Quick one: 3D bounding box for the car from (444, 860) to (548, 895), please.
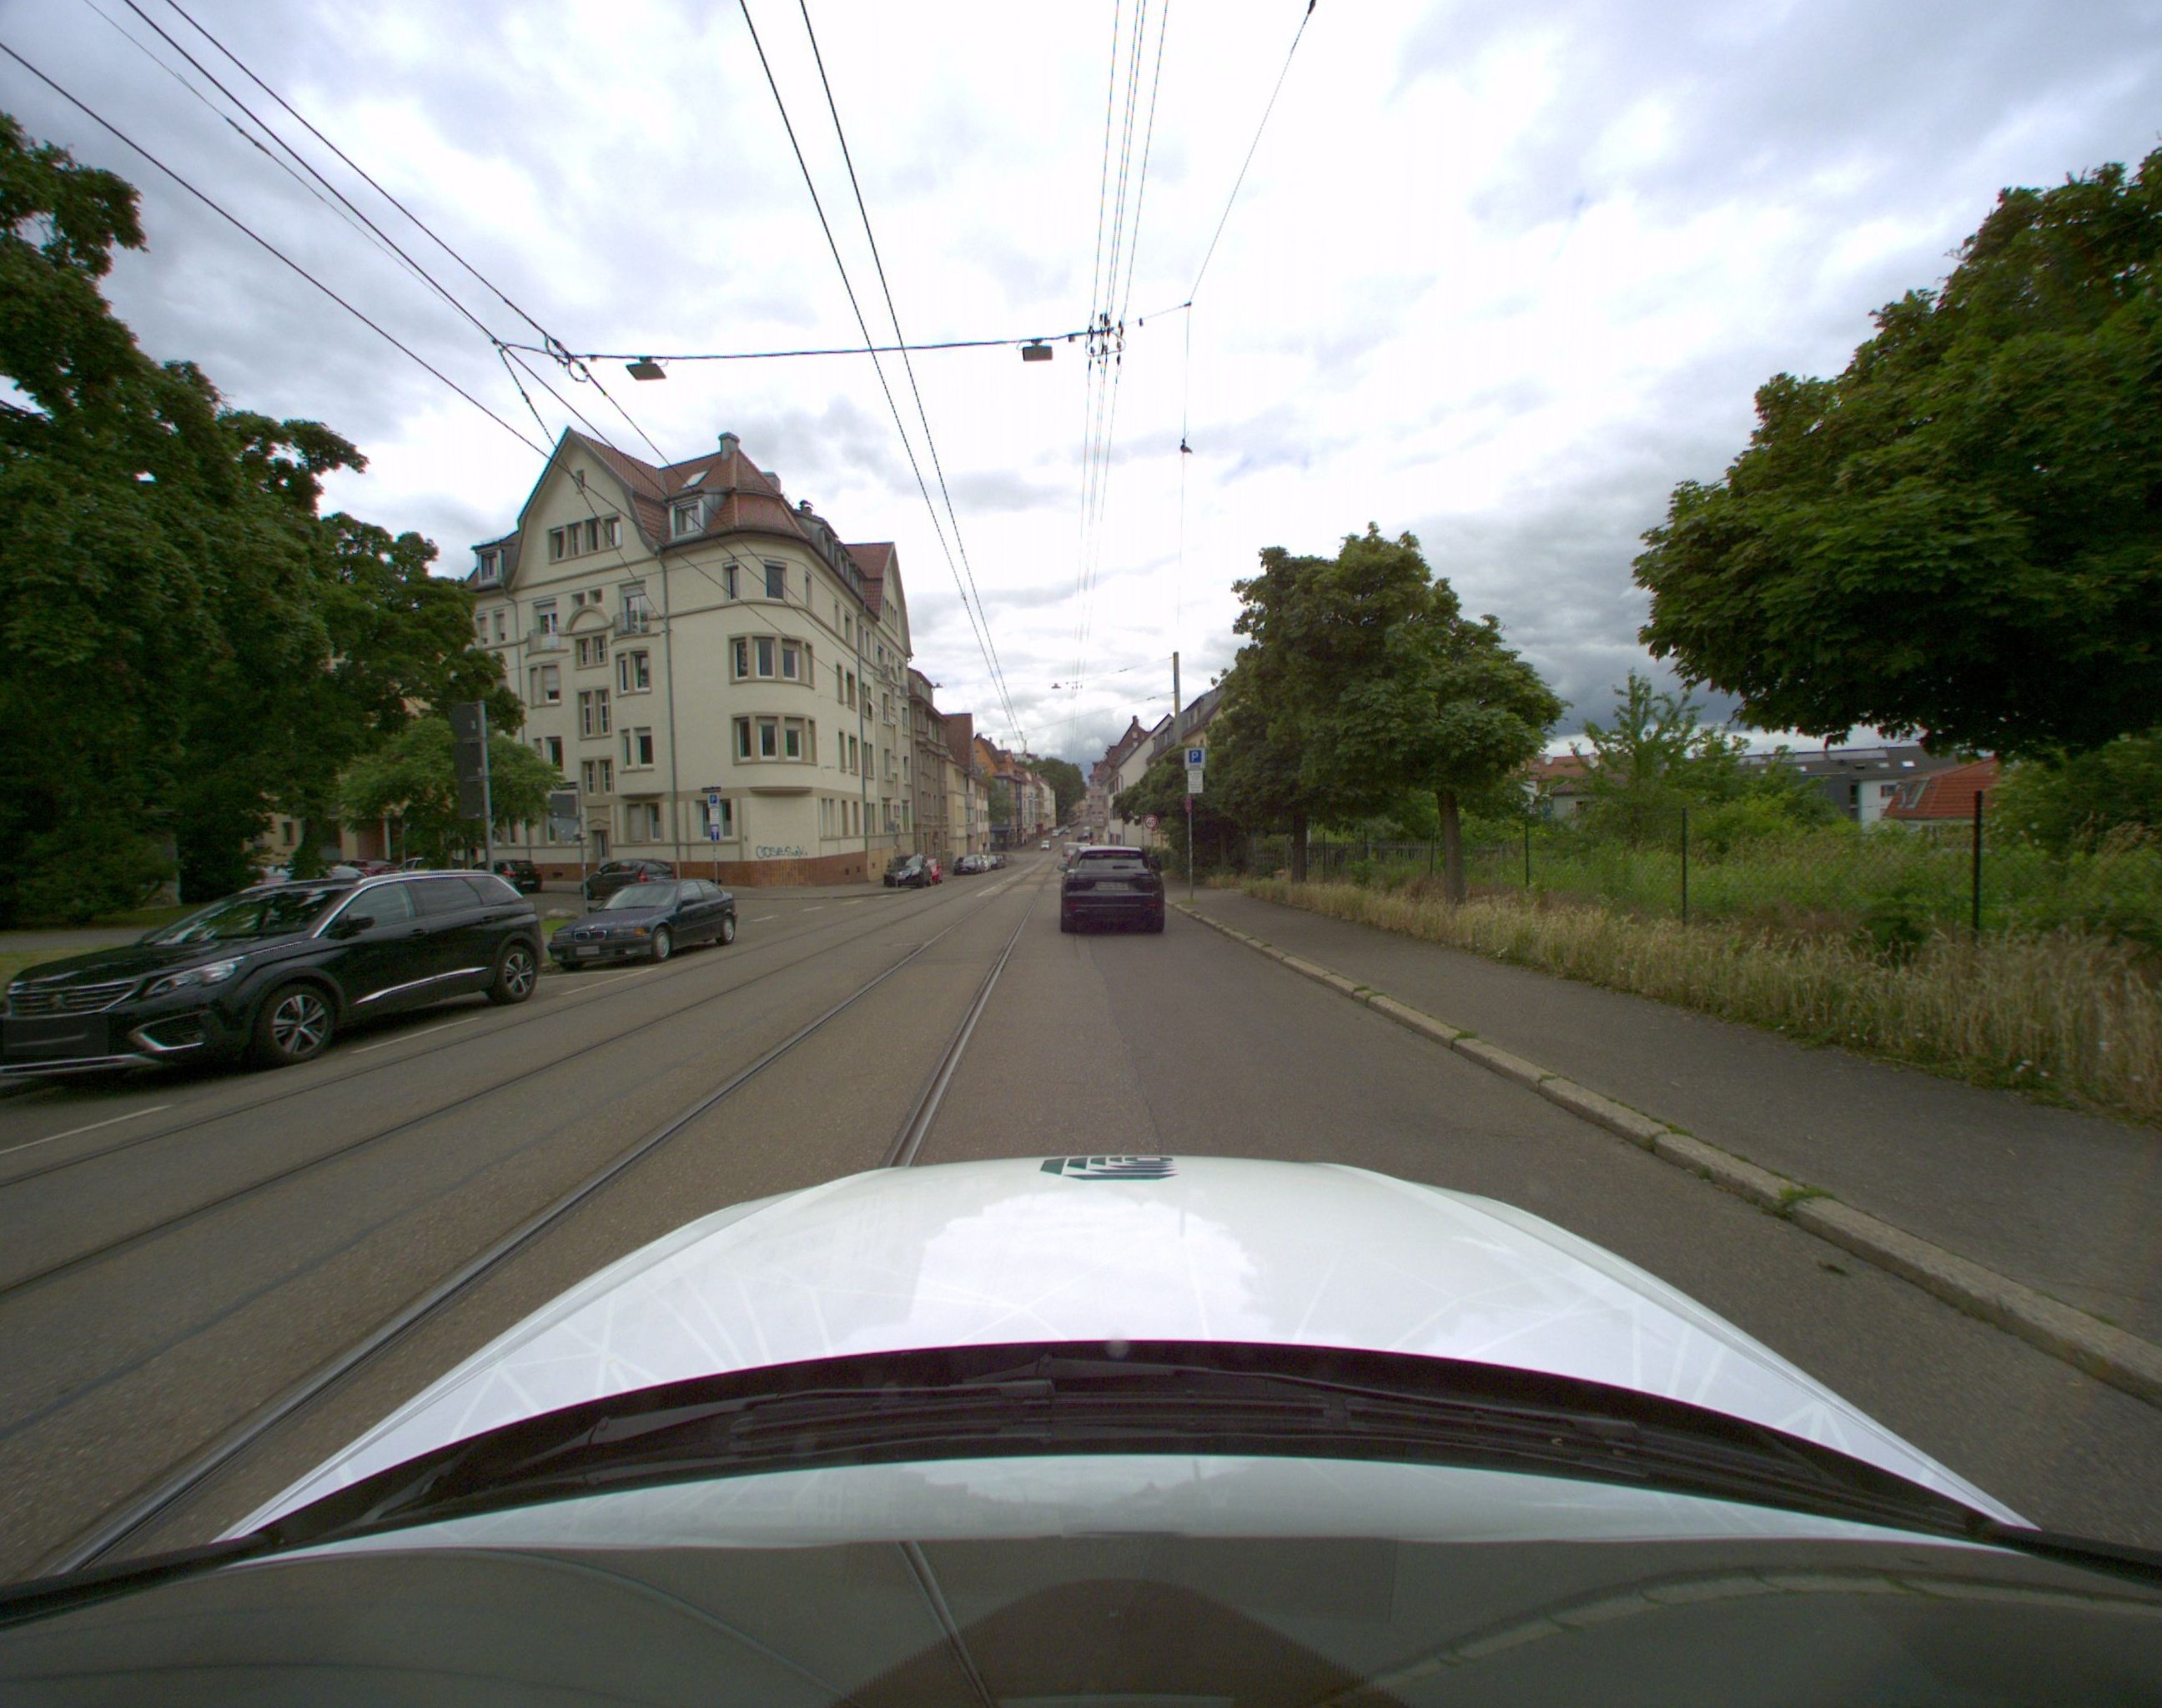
[{"bbox_3d":[-25.123,1.011,34.984,3.951,1.354,1.887,-1,0,25],"label":"car"}]

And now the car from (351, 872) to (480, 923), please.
[{"bbox_3d":[-22.373,1.401,27.376,3.951,1.439,1.771,1,2,25],"label":"car"}]

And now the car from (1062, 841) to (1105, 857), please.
[{"bbox_3d":[0.324,-0.732,125.577,6.221,2.290,2.215,-2,0,27],"label":"car"}]

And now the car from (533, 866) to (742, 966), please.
[{"bbox_3d":[-7.795,0.999,14.822,1.617,1.477,4.152,-2,-1,-2],"label":"car"}]

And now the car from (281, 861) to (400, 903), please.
[{"bbox_3d":[-27.094,1.035,29.789,3.951,1.419,1.770,-1,0,24],"label":"car"}]

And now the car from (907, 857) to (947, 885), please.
[{"bbox_3d":[-8.606,0.931,45.824,1.617,1.463,3.742,-2,-1,-3],"label":"car"}]

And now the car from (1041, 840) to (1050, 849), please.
[{"bbox_3d":[-7.113,-1.891,163.692,1.746,1.760,4.252,-2,0,0],"label":"car"}]

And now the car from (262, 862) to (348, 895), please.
[{"bbox_3d":[-39.038,1.231,40.963,3.951,1.544,1.771,-1,0,25],"label":"car"}]

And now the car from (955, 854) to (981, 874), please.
[{"bbox_3d":[-8.920,0.791,64.471,1.617,1.463,4.029,-2,-1,-2],"label":"car"}]

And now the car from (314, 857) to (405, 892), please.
[{"bbox_3d":[-34.433,0.966,38.864,3.951,1.544,1.771,-1,0,25],"label":"car"}]

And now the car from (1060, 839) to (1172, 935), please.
[{"bbox_3d":[0.582,0.596,16.666,1.988,1.676,3.997,-2,0,-2],"label":"car"}]

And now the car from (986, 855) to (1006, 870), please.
[{"bbox_3d":[-8.722,0.878,83.781,1.617,1.473,4.551,-2,-1,-2],"label":"car"}]

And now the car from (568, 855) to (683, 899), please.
[{"bbox_3d":[-17.686,0.891,31.627,3.951,1.571,1.887,-1,0,25],"label":"car"}]

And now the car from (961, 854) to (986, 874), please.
[{"bbox_3d":[-9.095,0.861,69.292,1.617,1.604,4.346,-2,-1,-2],"label":"car"}]

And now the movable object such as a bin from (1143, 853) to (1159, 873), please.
[{"bbox_3d":[4.169,0.538,48.793,0.790,1.218,0.788,-2,0,-5],"label":"movable object such as a bin"}]

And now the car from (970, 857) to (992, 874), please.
[{"bbox_3d":[-9.224,1.047,75.414,1.617,1.463,3.681,-2,-1,-3],"label":"car"}]

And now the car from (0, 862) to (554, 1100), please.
[{"bbox_3d":[-7.699,0.978,8.211,1.964,1.686,4.440,-2,-1,-3],"label":"car"}]

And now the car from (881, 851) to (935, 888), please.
[{"bbox_3d":[-8.440,0.762,40.096,1.863,1.646,4.398,-2,-1,-3],"label":"car"}]

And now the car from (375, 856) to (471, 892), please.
[{"bbox_3d":[-30.061,0.923,37.208,3.951,1.544,1.771,-1,0,25],"label":"car"}]

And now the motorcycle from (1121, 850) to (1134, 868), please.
[{"bbox_3d":[3.851,0.394,67.719,0.836,1.456,2.552,-2,0,0],"label":"motorcycle"}]
